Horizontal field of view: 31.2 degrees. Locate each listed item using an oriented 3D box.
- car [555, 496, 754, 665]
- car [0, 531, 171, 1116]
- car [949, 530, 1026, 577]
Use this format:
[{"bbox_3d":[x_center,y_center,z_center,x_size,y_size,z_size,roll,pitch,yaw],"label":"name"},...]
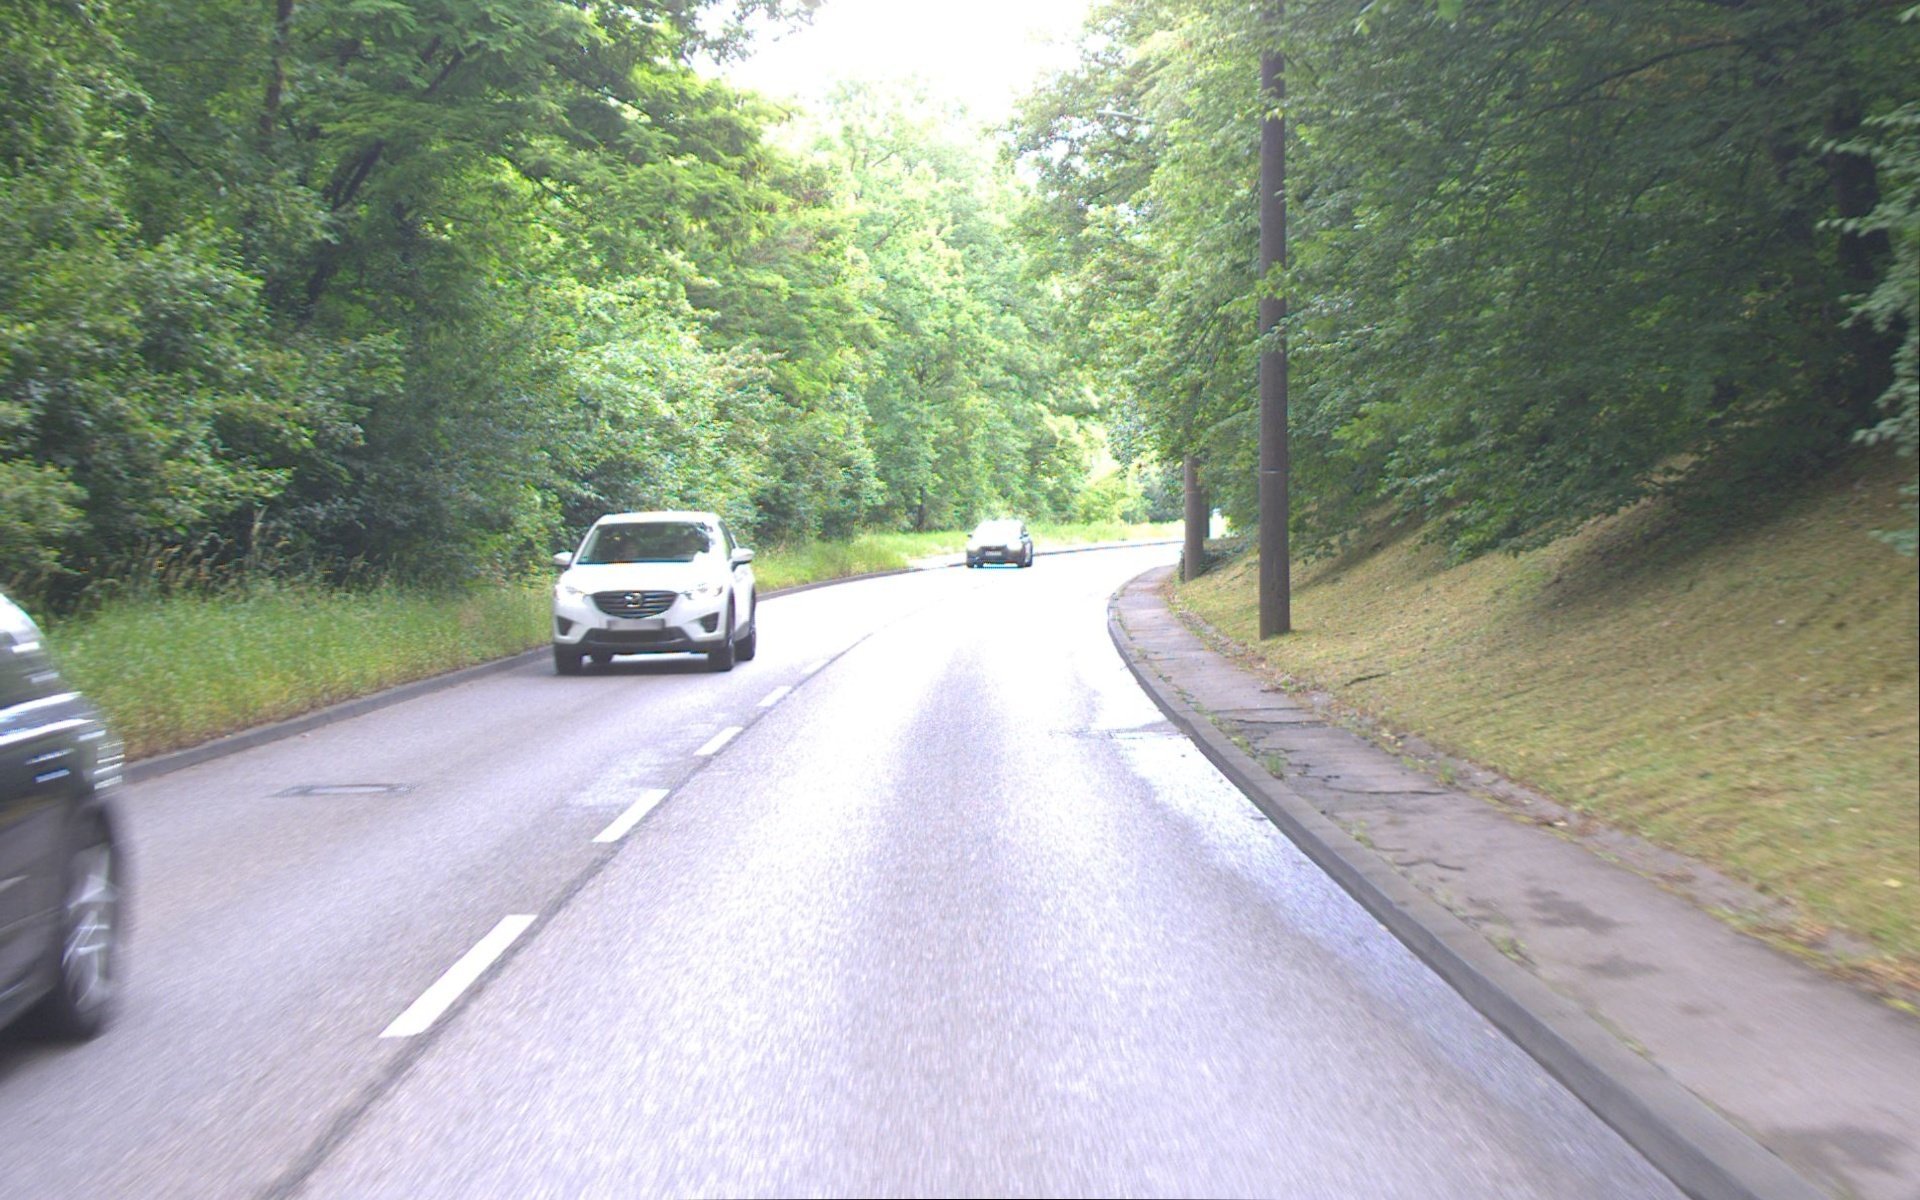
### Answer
[{"bbox_3d":[-3.223,-0.219,36.941,1.819,1.689,4.288,1,1,-1],"label":"car"},{"bbox_3d":[-3.471,0.569,8.548,2.029,1.503,4.596,1,1,-1],"label":"car"},{"bbox_3d":[0.831,-1.449,107.360,1.993,1.432,4.001,1,1,-5],"label":"car"}]
